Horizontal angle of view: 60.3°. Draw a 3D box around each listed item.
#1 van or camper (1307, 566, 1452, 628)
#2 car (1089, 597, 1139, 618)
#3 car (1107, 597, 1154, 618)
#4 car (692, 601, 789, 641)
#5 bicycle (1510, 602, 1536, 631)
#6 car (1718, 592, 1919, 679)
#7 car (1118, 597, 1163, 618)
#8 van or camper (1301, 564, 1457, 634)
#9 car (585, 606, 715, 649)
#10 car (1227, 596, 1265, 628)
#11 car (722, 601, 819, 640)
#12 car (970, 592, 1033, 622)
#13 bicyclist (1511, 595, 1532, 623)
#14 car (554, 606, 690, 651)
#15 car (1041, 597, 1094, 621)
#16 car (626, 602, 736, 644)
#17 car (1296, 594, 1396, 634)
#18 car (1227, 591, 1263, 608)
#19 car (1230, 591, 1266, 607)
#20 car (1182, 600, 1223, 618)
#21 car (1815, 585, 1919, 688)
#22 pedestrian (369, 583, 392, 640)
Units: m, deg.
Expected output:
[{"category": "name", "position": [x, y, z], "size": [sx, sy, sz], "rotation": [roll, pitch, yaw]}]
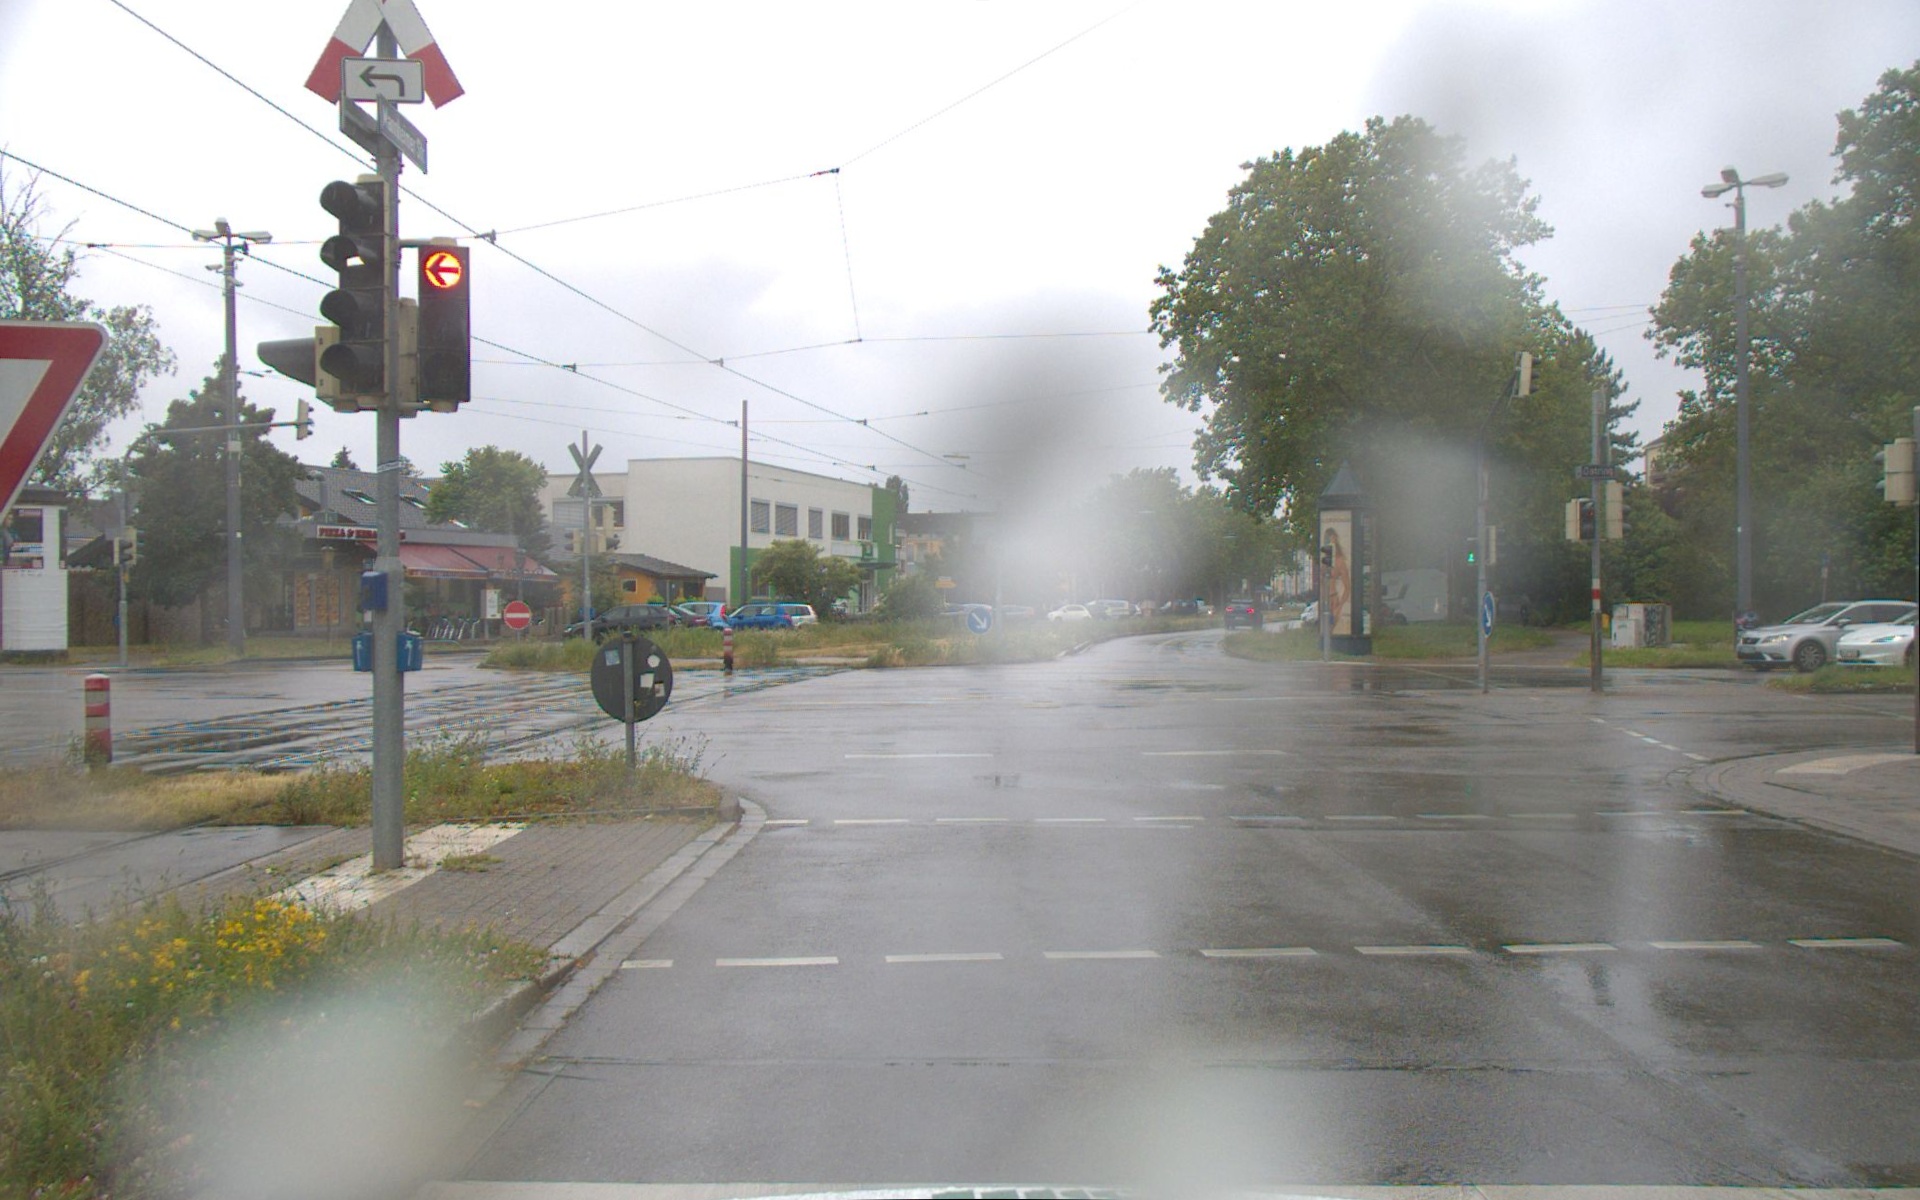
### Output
[{"category": "van or camper", "position": [22.816, -0.157, 89.965], "size": [7.274, 3.234, 3.262], "rotation": [1, 0, 22]}, {"category": "car", "position": [13.518, 0.637, 145.073], "size": [3.916, 1.789, 2.004], "rotation": [1, 0, -12]}, {"category": "car", "position": [15.875, 0.677, 154.072], "size": [3.916, 1.864, 1.994], "rotation": [1, 0, -12]}, {"category": "car", "position": [-9.242, 0.877, 69.544], "size": [3.916, 1.609, 1.924], "rotation": [0, 0, -12]}, {"category": "bicycle", "position": [28.704, 0.844, 84.370], "size": [0.843, 1.450, 2.705], "rotation": [1, 0, 9]}, {"category": "car", "position": [18.447, 0.731, 34.630], "size": [4.309, 1.721, 1.931], "rotation": [1, 0, -7]}, {"category": "car", "position": [17.348, 0.723, 159.164], "size": [3.909, 1.864, 1.998], "rotation": [1, 0, -5]}, {"category": "van or camper", "position": [20.508, -0.049, 80.846], "size": [7.168, 3.234, 3.264], "rotation": [1, 0, 17]}, {"category": "car", "position": [-11.425, 0.999, 61.200], "size": [4.405, 1.443, 1.858], "rotation": [-2, 0, 0]}, {"category": "car", "position": [16.164, 0.677, 93.321], "size": [1.768, 1.716, 3.914], "rotation": [1, 0, 14]}, {"category": "car", "position": [-8.361, 0.875, 72.765], "size": [4.040, 1.670, 1.922], "rotation": [0, 0, -15]}, {"category": "car", "position": [2.746, 0.492, 110.083], "size": [3.911, 1.920, 1.997], "rotation": [1, 0, -7]}, {"category": "bicyclist", "position": [28.782, 0.458, 84.830], "size": [0.843, 1.450, 0.957], "rotation": [1, 0, 9]}, {"category": "car", "position": [-11.981, 0.996, 58.784], "size": [4.385, 1.443, 1.858], "rotation": [-2, 0, 0]}, {"category": "car", "position": [8.261, 0.677, 126.878], "size": [3.706, 1.732, 1.832], "rotation": [1, 0, -11]}, {"category": "car", "position": [-10.887, 0.876, 64.608], "size": [3.903, 1.609, 1.859], "rotation": [0, 0, 4]}, {"category": "car", "position": [18.178, 0.654, 77.858], "size": [4.352, 1.747, 2.000], "rotation": [1, 0, 21]}, {"category": "car", "position": [34.281, -0.054, 199.203], "size": [3.909, 1.864, 1.998], "rotation": [1, 0, -5]}, {"category": "car", "position": [35.486, -0.151, 203.955], "size": [3.909, 1.864, 1.998], "rotation": [1, 0, -5]}, {"category": "car", "position": [25.610, 0.927, 174.428], "size": [3.909, 1.864, 1.998], "rotation": [1, 0, -5]}, {"category": "car", "position": [18.874, 0.704, 31.299], "size": [4.506, 1.860, 1.931], "rotation": [1, 0, -7]}, {"category": "pedestrian", "position": [-21.125, 0.417, 60.312], "size": [0.713, 2.049, 0.789], "rotation": [1, -1, -23]}]
